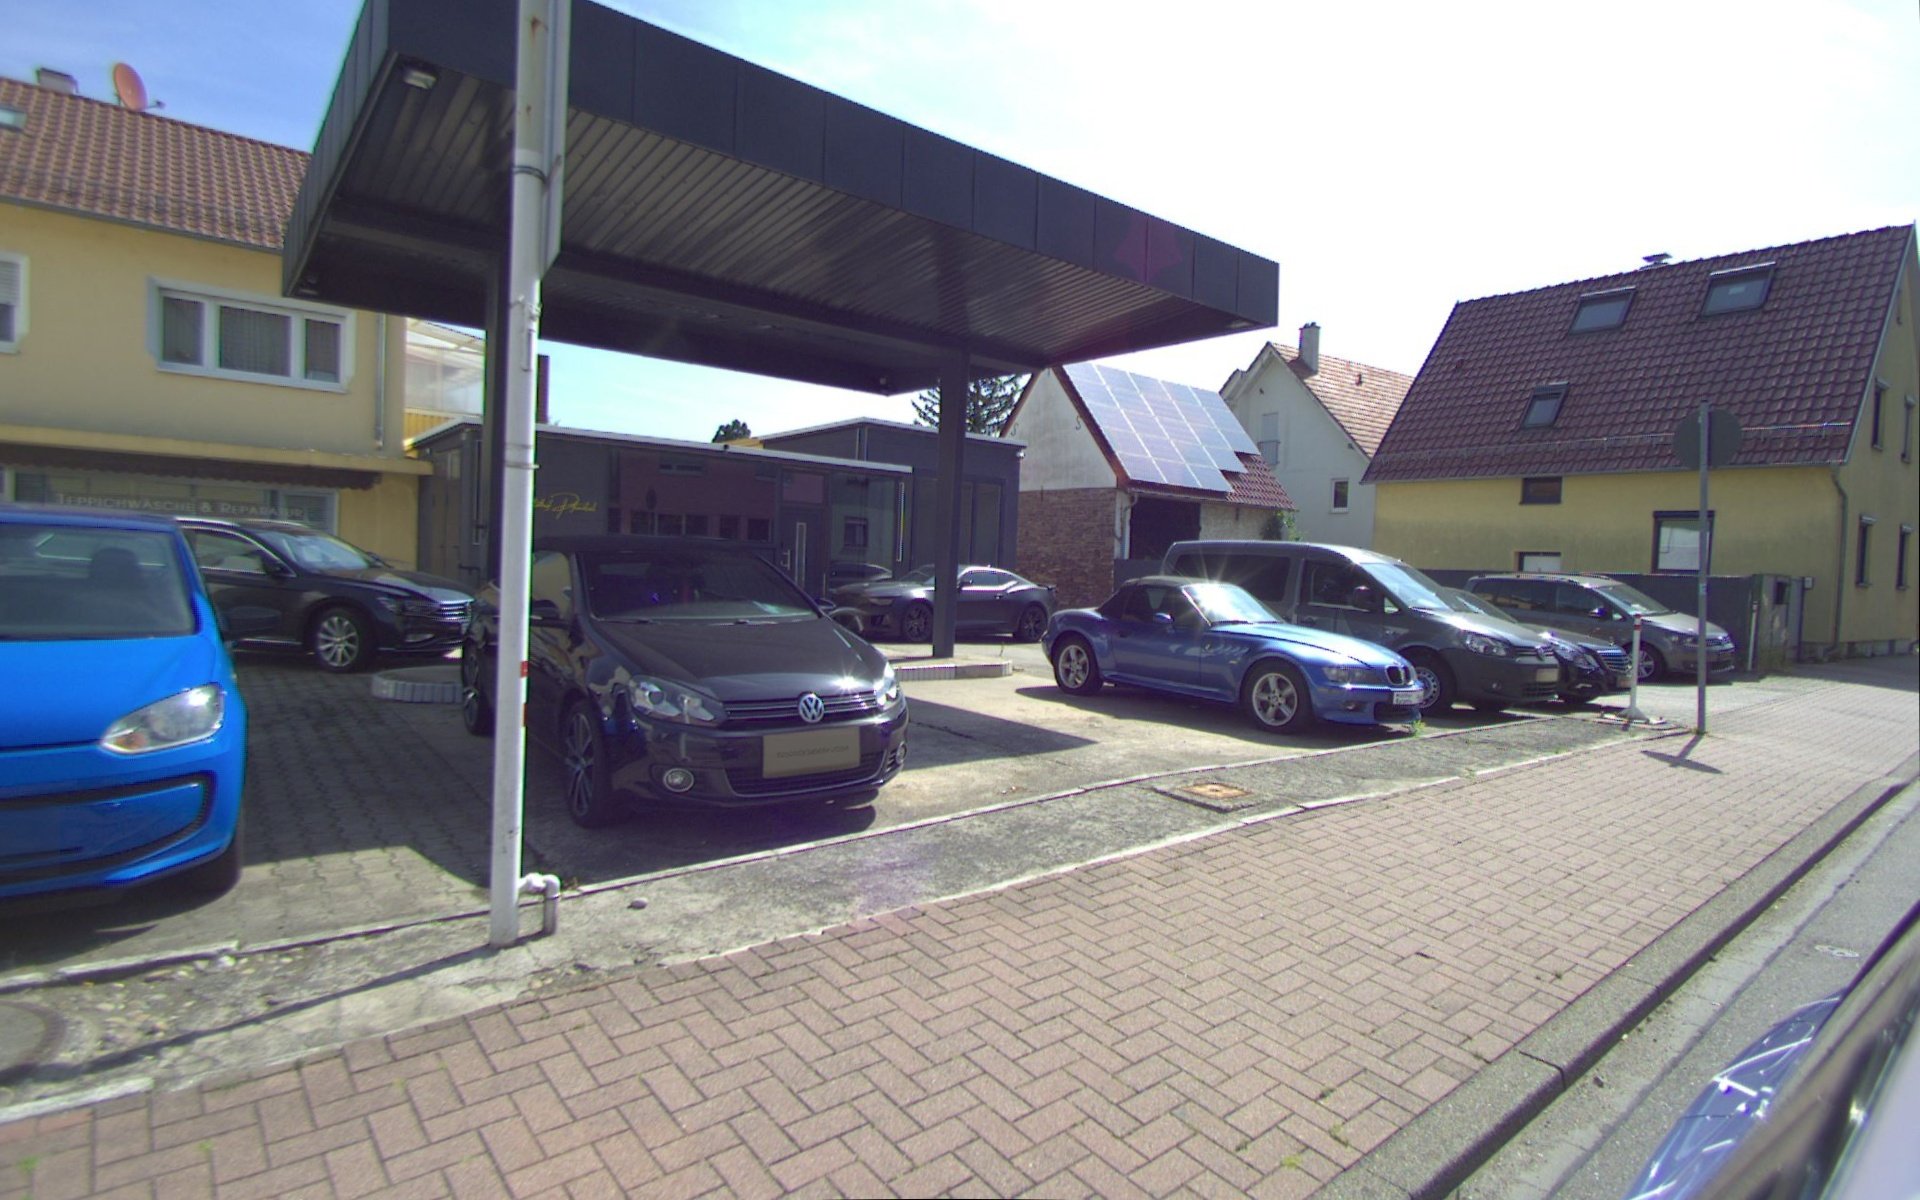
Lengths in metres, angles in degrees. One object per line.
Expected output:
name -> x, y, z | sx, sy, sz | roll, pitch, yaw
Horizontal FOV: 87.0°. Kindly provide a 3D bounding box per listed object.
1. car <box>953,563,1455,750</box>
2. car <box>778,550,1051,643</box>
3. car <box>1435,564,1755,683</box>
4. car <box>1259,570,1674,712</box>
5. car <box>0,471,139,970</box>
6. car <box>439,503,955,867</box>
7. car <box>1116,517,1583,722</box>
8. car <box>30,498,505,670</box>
car -> 2.052, 0.350, 9.825 | 1.929, 1.283, 4.553 | 0, 3, -36
car -> -0.653, -0.092, 17.458 | 4.668, 1.363, 1.761 | 0, 3, -43
car -> 10.666, 0.302, 17.334 | 1.703, 1.767, 4.345 | -1, 1, -33
car -> 6.557, 0.403, 13.650 | 1.875, 1.516, 4.650 | 0, 2, -36
car -> -4.646, 0.275, 4.230 | 1.552, 1.547, 3.814 | 1, 3, -34
car -> -1.955, 0.242, 6.347 | 1.695, 1.499, 4.175 | 0, 3, -36
car -> 4.134, 0.091, 11.531 | 1.929, 1.832, 4.650 | 0, 2, -36
car -> -7.055, -0.167, 10.597 | 3.798, 1.544, 1.727 | 2, 0, 1
